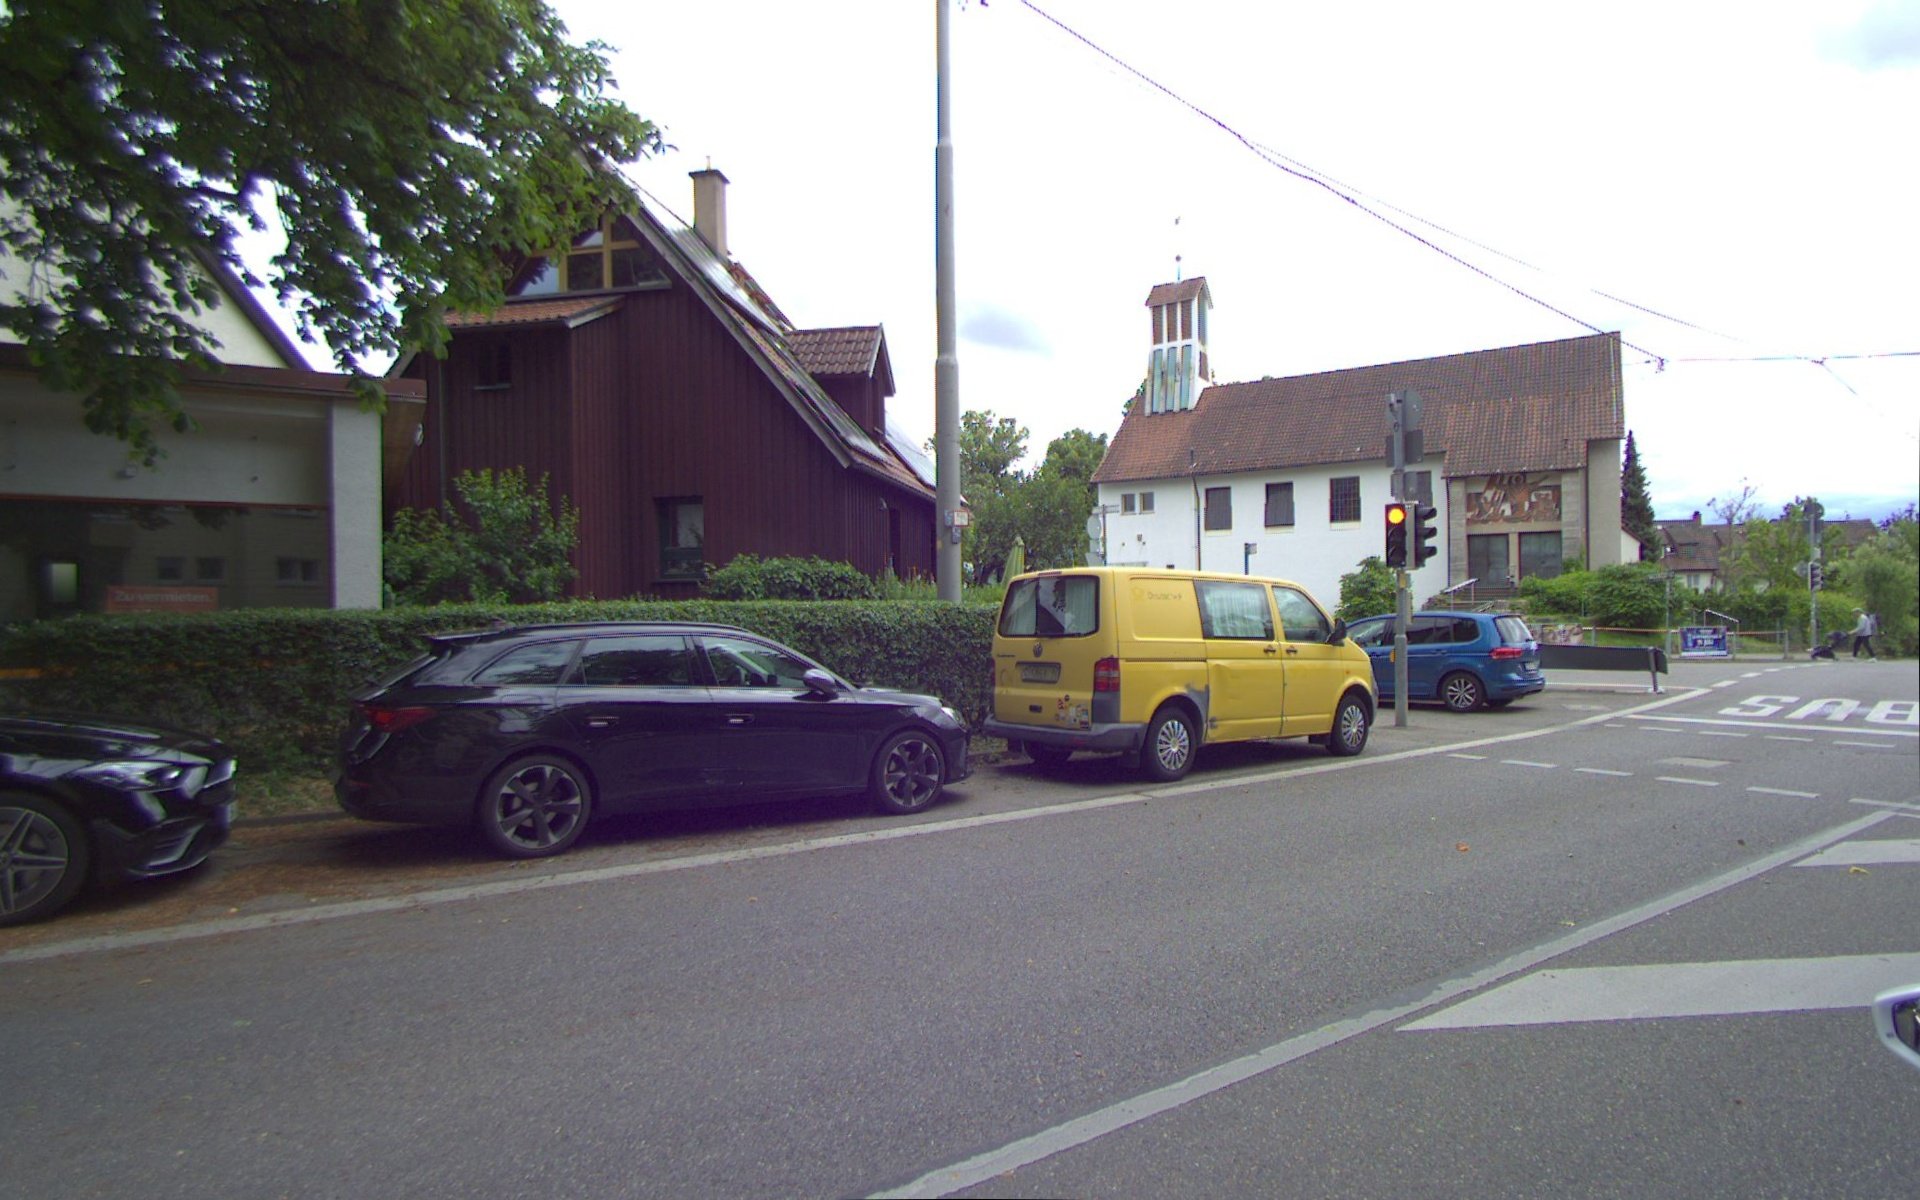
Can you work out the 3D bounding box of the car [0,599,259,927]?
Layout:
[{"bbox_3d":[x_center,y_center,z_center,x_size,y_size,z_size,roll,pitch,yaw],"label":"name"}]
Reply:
[{"bbox_3d":[-6.215,0.764,4.757,4.561,1.520,1.984,1,-2,-31],"label":"car"}]

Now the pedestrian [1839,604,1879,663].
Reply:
[{"bbox_3d":[28.839,1.069,32.228,0.570,1.887,0.876,1,-1,-43],"label":"pedestrian"}]

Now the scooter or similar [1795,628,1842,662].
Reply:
[{"bbox_3d":[28.182,1.464,32.969,0.573,1.095,1.098,1,-2,-41],"label":"scooter or similar"}]

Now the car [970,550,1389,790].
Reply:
[{"bbox_3d":[2.459,0.647,10.685,4.523,2.040,1.870,1,-2,-37],"label":"car"}]

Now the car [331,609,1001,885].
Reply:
[{"bbox_3d":[-1.998,0.846,7.441,4.494,1.505,1.681,1,-2,-34],"label":"car"}]

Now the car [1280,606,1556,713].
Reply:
[{"bbox_3d":[7.812,0.990,17.367,1.806,1.632,3.948,1,-3,-44],"label":"car"}]
